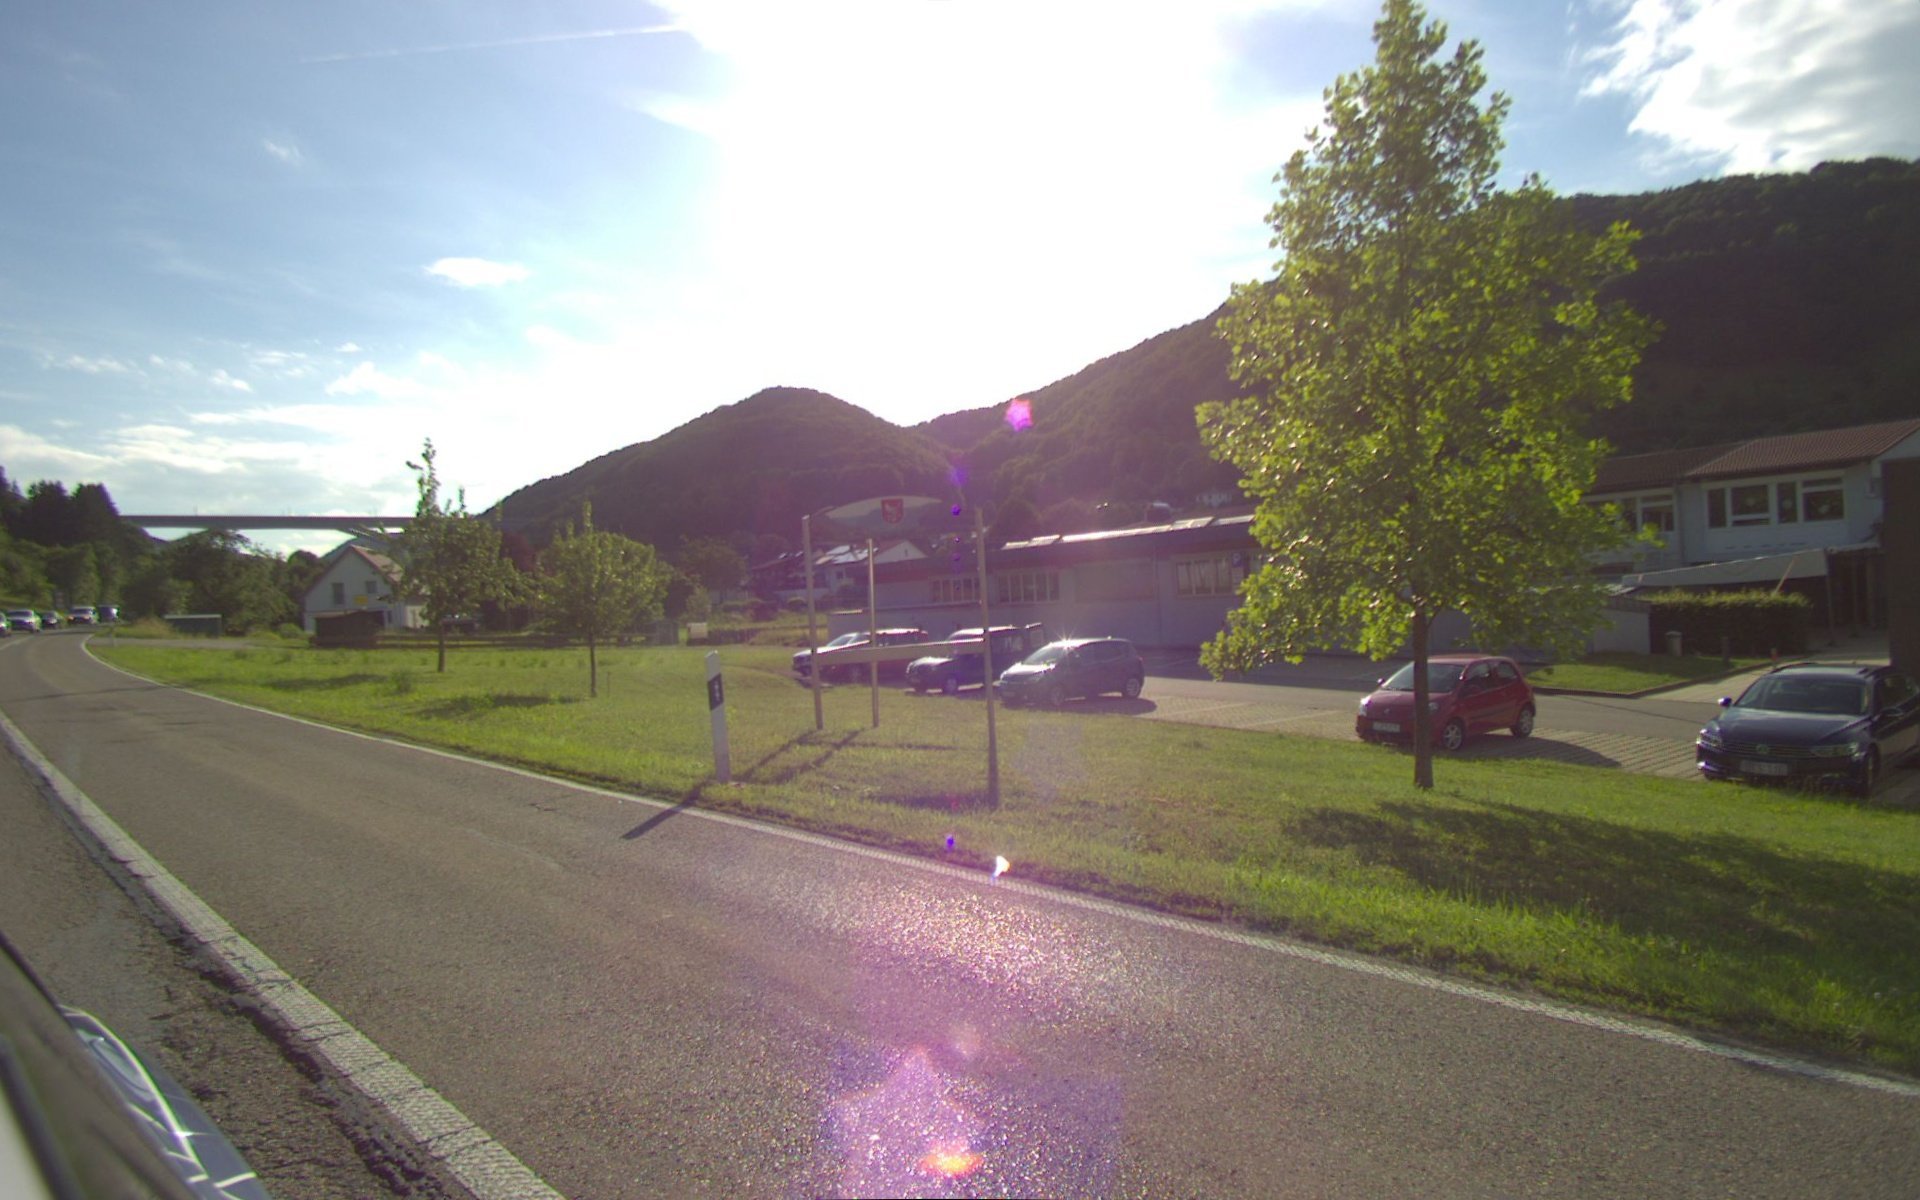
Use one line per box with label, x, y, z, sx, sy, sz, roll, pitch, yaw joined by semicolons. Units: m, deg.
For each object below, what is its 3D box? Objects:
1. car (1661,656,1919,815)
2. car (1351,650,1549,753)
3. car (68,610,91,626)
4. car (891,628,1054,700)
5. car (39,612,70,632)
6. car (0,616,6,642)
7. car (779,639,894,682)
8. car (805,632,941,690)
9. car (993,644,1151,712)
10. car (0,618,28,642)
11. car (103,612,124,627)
car;11.741;1.711;14.043;4.479;1.566;2.004;-1;0;-37
car;8.644;1.698;17.754;3.672;1.408;1.619;-1;0;-37
car;-83.683;1.712;96.190;1.606;1.490;3.684;-1;0;-42
car;0.445;1.828;30.124;4.928;1.807;1.688;-1;0;-39
car;-73.743;1.765;82.422;1.605;1.490;3.687;-1;0;-38
car;-57.661;1.704;59.922;1.607;1.490;3.681;-1;0;-45
car;-4.564;2.186;37.497;3.835;1.379;1.857;0;0;-36
car;-2.955;2.023;34.601;4.262;1.682;1.853;-1;0;-33
car;2.910;1.937;25.902;3.956;1.463;1.688;-1;-2;-39
car;-65.279;2.042;69.604;1.607;1.490;3.681;-1;0;-45
car;-90.415;2.101;108.095;1.605;1.490;3.687;-1;0;-38
